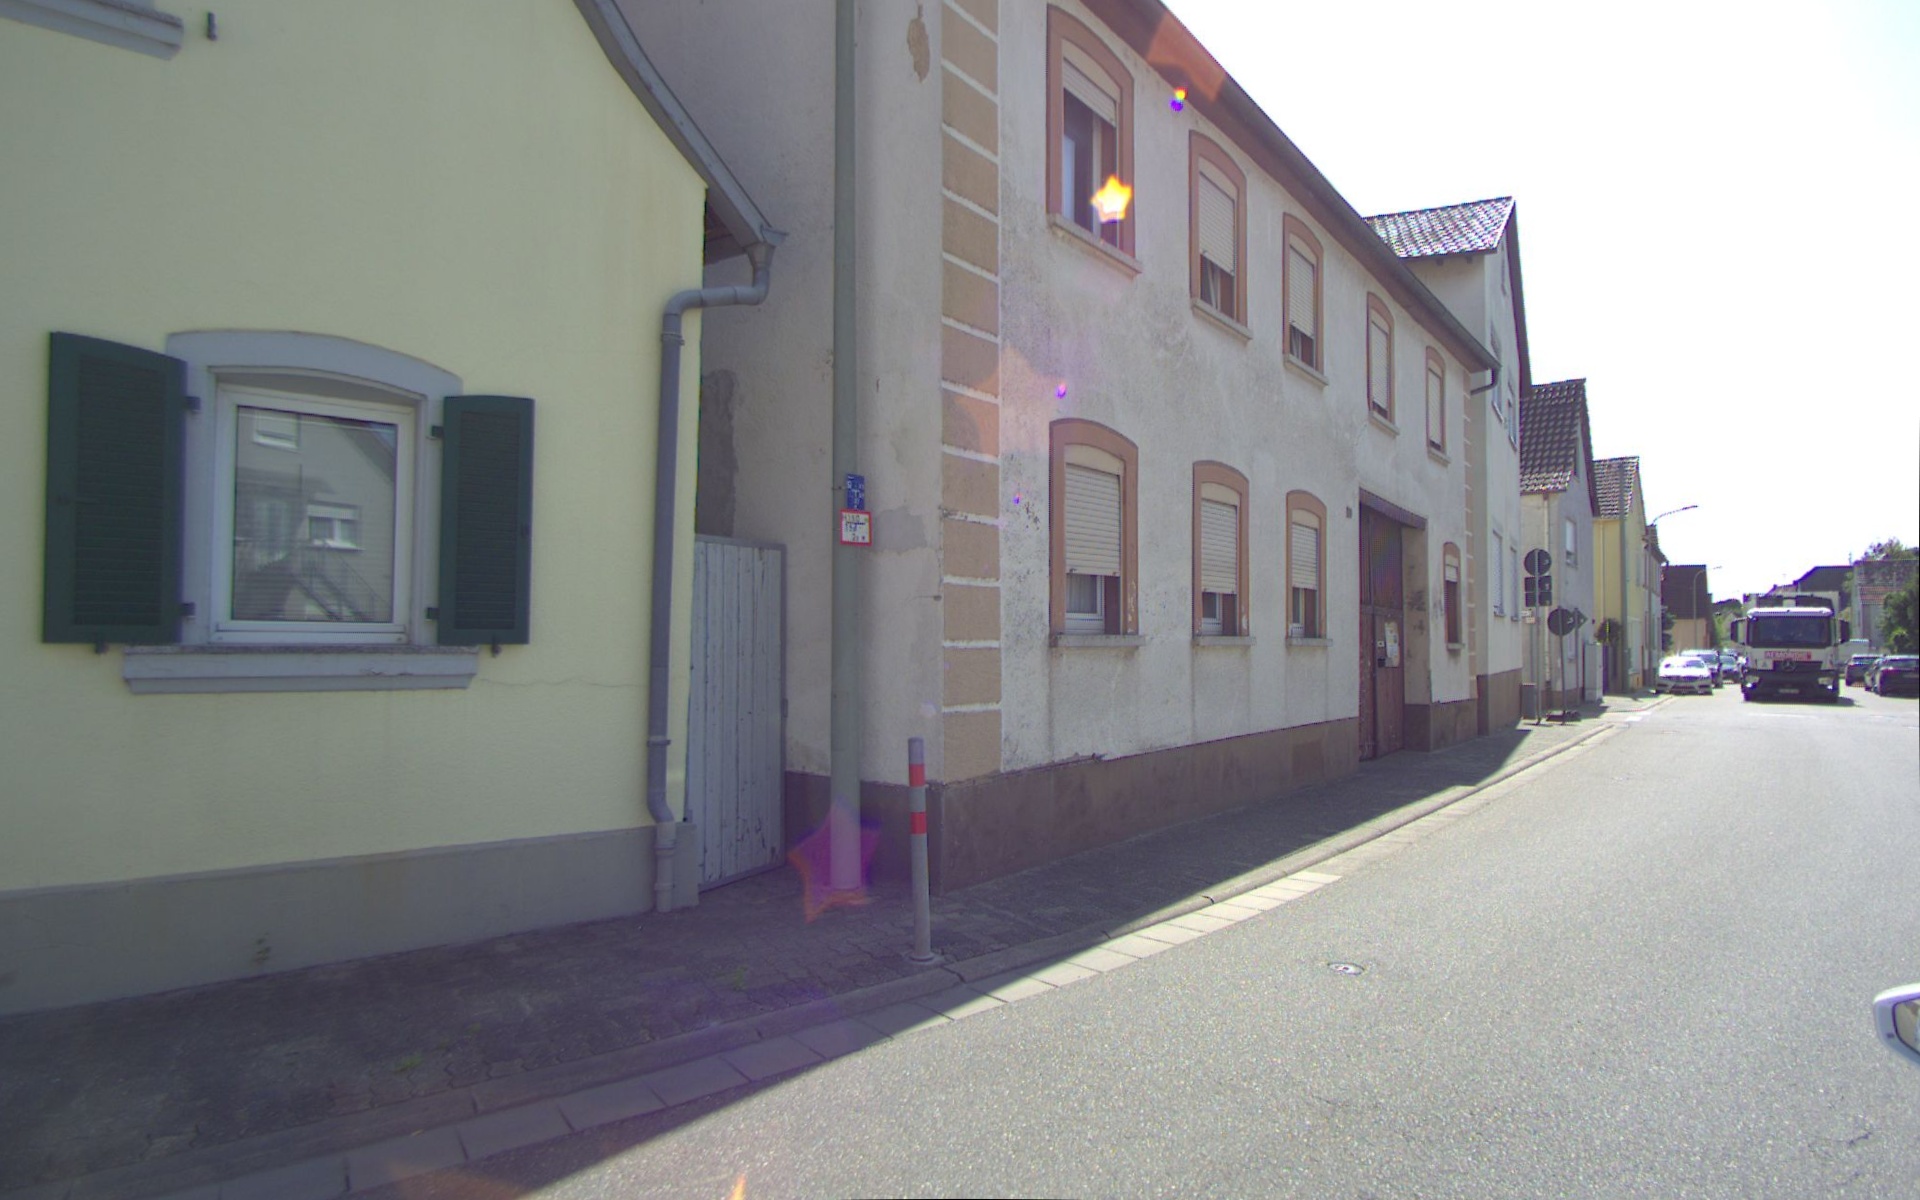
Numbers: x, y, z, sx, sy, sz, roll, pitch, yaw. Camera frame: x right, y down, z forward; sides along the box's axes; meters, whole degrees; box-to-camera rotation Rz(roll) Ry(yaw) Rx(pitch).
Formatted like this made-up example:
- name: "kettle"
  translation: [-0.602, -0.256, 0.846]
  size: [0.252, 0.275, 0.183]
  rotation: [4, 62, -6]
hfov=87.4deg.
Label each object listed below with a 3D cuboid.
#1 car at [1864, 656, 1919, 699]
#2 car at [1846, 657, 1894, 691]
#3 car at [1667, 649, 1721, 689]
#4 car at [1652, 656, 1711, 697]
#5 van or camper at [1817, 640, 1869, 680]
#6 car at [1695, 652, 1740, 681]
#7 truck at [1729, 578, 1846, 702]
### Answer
- name: "car"
  translation: [37.220, 3.033, 39.853]
  size: [1.776, 1.580, 4.611]
  rotation: [-1, -3, 39]
- name: "car"
  translation: [47.585, 3.827, 52.535]
  size: [1.774, 1.652, 4.337]
  rotation: [-2, -3, 42]
- name: "car"
  translation: [35.771, 3.337, 48.911]
  size: [1.813, 1.861, 4.334]
  rotation: [-2, -4, 39]
- name: "car"
  translation: [28.538, 2.982, 39.771]
  size: [1.811, 1.483, 4.257]
  rotation: [-2, -3, 36]
- name: "van or camper"
  translation: [62.439, 4.228, 71.111]
  size: [2.491, 2.732, 4.537]
  rotation: [-1, -3, 38]
- name: "car"
  translation: [43.442, 3.798, 57.569]
  size: [1.822, 1.546, 4.744]
  rotation: [-1, -3, 40]
- name: "truck"
  translation: [29.603, 1.481, 35.710]
  size: [2.666, 3.799, 10.811]
  rotation: [-2, -4, 42]
